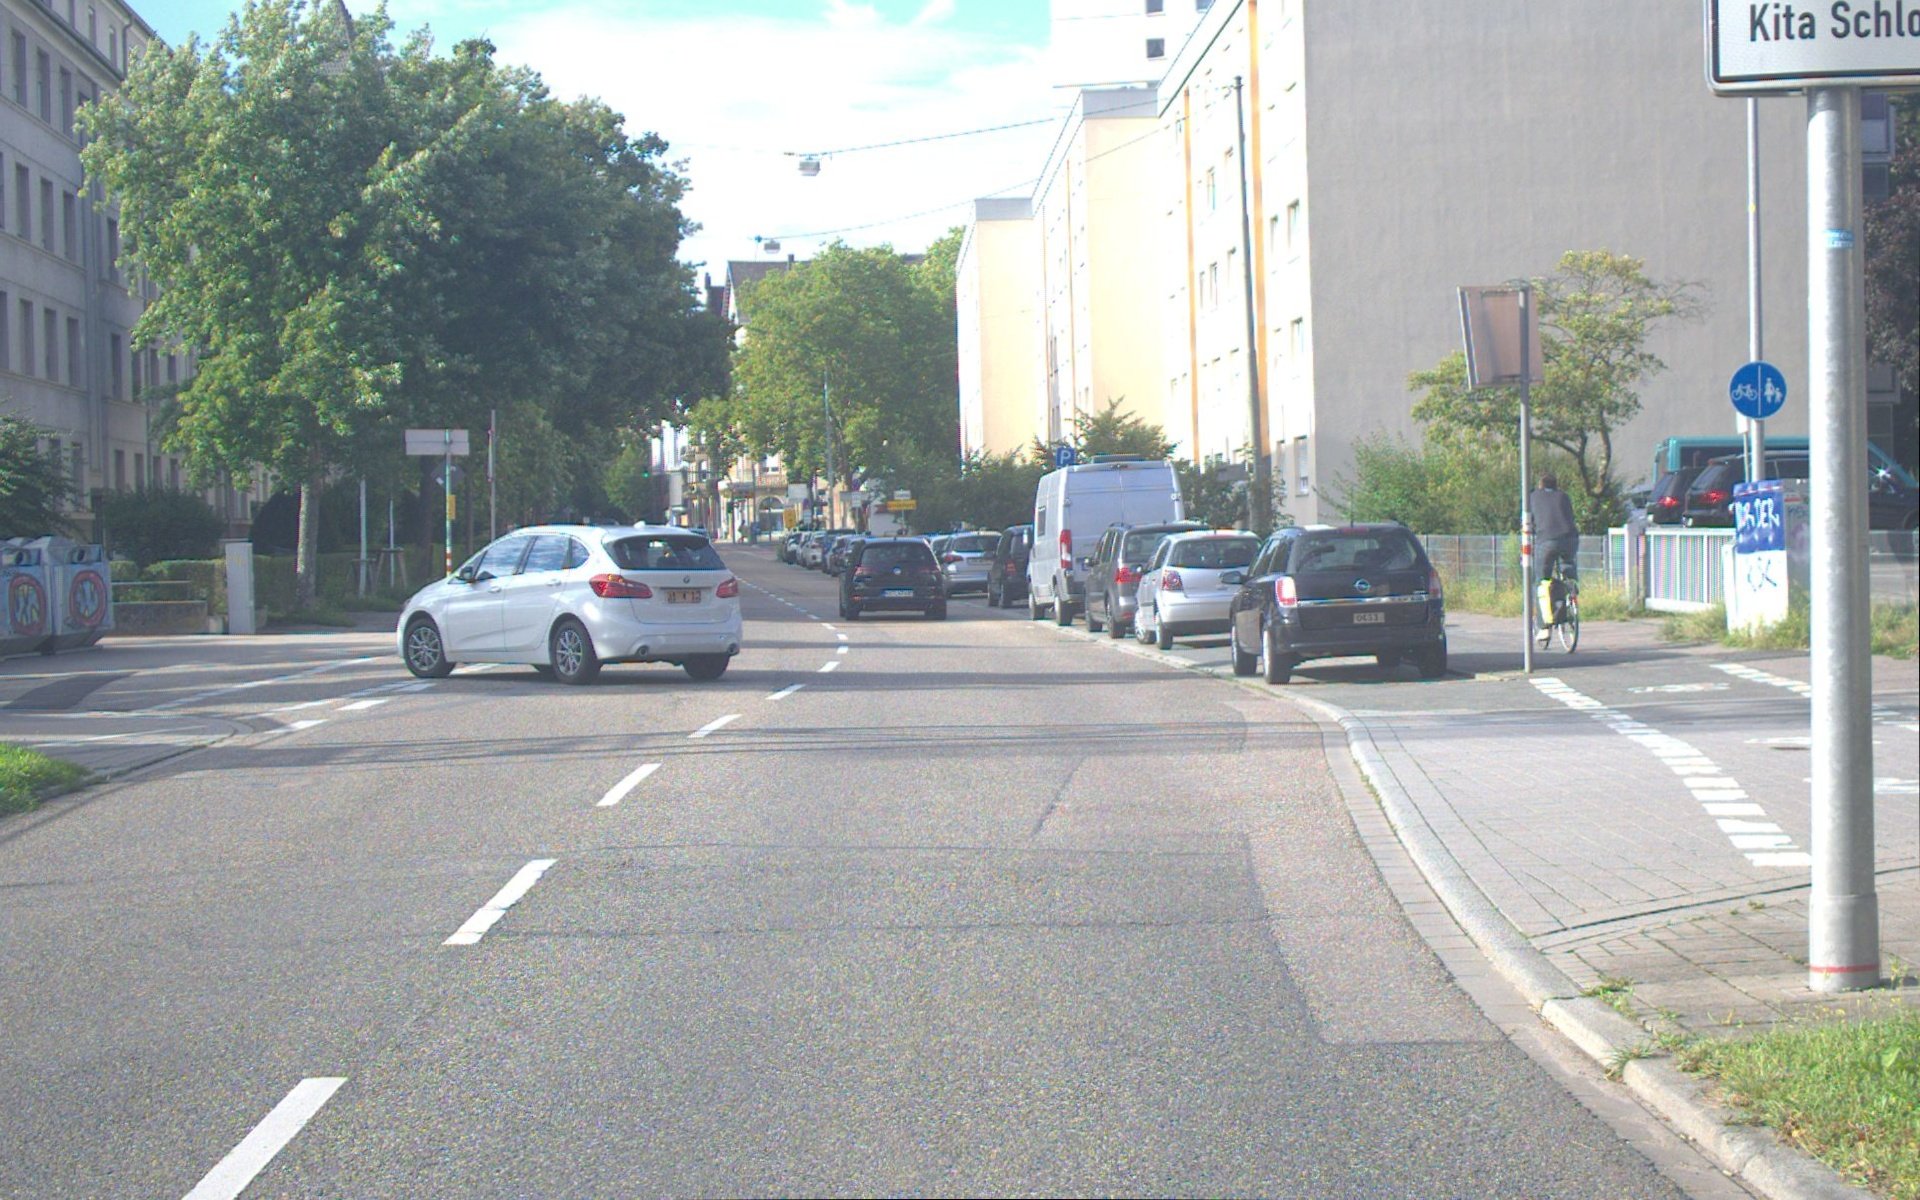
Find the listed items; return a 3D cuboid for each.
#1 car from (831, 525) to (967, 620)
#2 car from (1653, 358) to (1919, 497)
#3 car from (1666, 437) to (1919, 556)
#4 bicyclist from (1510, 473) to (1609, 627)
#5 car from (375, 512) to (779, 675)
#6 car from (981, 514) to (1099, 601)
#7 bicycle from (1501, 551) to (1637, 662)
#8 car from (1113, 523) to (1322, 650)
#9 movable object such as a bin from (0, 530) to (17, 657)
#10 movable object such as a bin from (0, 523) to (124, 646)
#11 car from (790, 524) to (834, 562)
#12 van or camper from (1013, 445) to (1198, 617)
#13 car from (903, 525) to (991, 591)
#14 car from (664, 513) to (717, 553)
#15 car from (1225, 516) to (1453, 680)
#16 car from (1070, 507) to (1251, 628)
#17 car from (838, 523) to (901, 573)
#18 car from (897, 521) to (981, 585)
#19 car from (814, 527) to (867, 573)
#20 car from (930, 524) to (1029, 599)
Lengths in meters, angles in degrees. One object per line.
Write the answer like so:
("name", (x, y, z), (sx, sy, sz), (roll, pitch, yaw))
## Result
("car", (-1.103, -0.503, 60.040), (1.993, 1.565, 4.001), (-1, 1, -7))
("car", (14.146, -2.934, 58.877), (4.119, 2.178, 2.000), (-2, 1, 2))
("car", (13.008, -1.565, 51.483), (4.448, 1.616, 2.000), (-2, 1, 2))
("bicyclist", (6.114, -0.508, 35.080), (0.737, 1.508, 0.875), (-4, 1, -2))
("car", (-3.954, -0.086, 34.996), (1.994, 1.549, 4.272), (-1, 1, -41))
("car", (1.527, -0.853, 67.057), (1.993, 1.568, 4.001), (-2, 1, -2))
("bicycle", (6.149, 0.042, 34.856), (0.740, 1.031, 2.762), (-4, 1, -2))
("car", (3.280, -0.195, 44.708), (2.015, 1.470, 4.803), (-3, 1, -3))
("movable object such as a bin", (-14.427, -0.076, 46.043), (3.105, 1.702, 1.547), (0, 1, 13))
("movable object such as a bin", (-13.640, -0.221, 48.874), (3.105, 1.702, 1.410), (0, 1, 12))
("car", (-7.077, -2.714, 164.310), (1.993, 1.749, 4.000), (0, 1, -1))
("van or camper", (2.311, -1.131, 56.132), (2.209, 2.598, 5.373), (-2, 1, -5))
("car", (-0.352, -1.064, 85.729), (1.993, 1.525, 4.001), (-2, 1, -2))
("car", (-11.936, -2.957, 152.140), (2.055, 1.658, 3.927), (-3, 1, -8))
("car", (3.631, -0.045, 33.566), (1.717, 1.491, 4.268), (0, 1, 0))
("car", (2.865, -0.501, 50.117), (1.993, 1.610, 4.409), (-2, 1, -5))
("car", (-3.038, -1.748, 115.096), (1.993, 1.568, 4.001), (-2, 1, -2))
("car", (-0.566, -1.257, 89.975), (1.993, 1.568, 4.001), (-2, 1, -2))
("car", (-4.656, -1.962, 133.561), (1.993, 1.678, 4.001), (-2, 1, -2))
("car", (0.412, -0.899, 77.501), (1.993, 1.568, 4.001), (-2, 1, -2))
